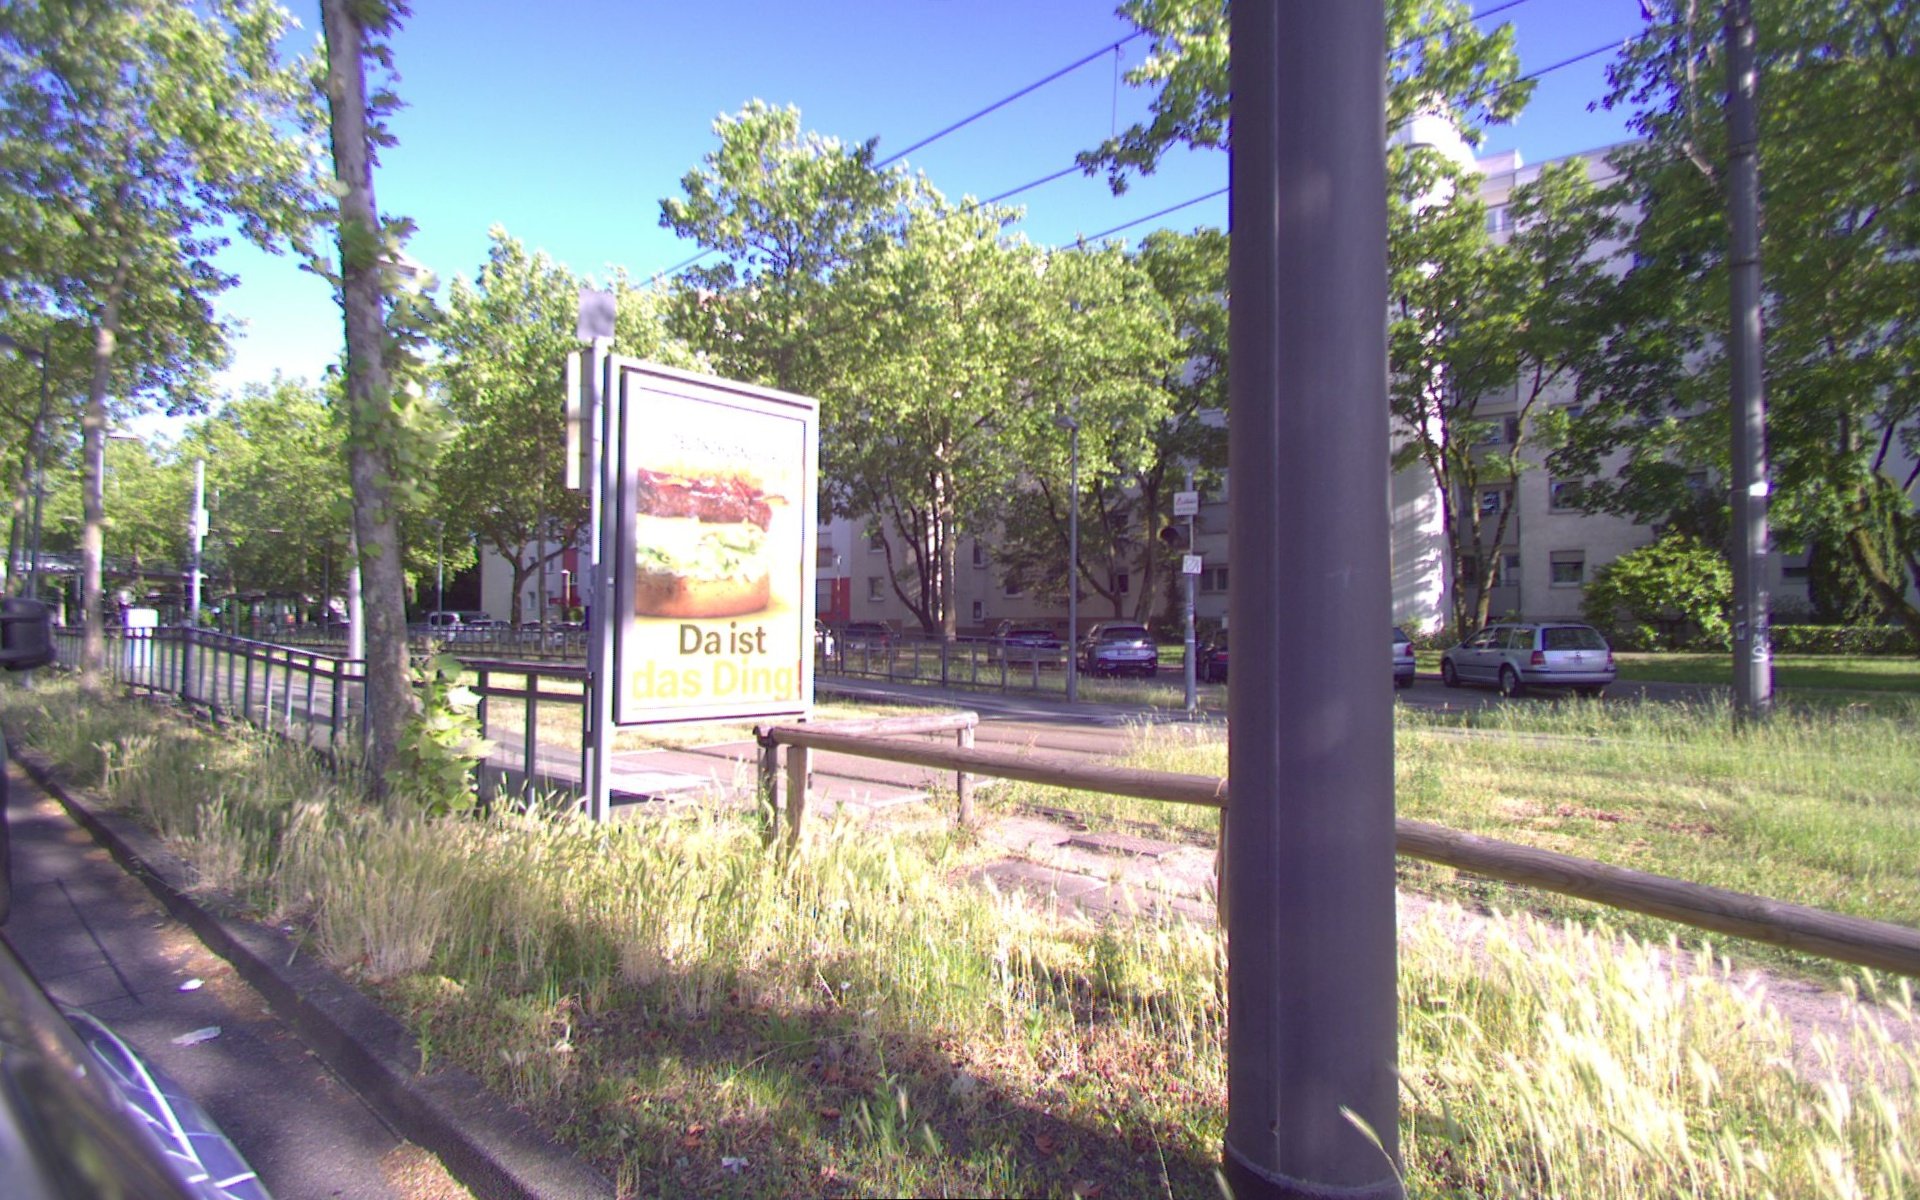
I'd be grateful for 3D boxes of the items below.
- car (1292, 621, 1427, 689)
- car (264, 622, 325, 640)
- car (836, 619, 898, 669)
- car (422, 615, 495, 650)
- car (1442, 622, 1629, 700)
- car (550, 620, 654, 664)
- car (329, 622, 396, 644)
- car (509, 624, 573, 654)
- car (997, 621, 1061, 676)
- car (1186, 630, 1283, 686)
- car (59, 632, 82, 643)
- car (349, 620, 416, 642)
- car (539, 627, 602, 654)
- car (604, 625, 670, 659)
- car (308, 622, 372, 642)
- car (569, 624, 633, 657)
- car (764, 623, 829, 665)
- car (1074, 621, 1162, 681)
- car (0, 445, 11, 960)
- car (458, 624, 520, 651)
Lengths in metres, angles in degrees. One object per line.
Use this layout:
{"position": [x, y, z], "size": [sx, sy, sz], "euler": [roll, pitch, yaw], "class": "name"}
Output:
{"position": [9.159, 1.216, 23.521], "size": [1.679, 1.444, 3.681], "euler": [0, -1, 1], "class": "car"}
{"position": [-52.140, 2.397, 79.358], "size": [1.898, 1.386, 4.365], "euler": [0, -1, 1], "class": "car"}
{"position": [-3.101, 1.455, 34.462], "size": [1.664, 1.579, 3.679], "euler": [0, -1, 2], "class": "car"}
{"position": [-28.321, 1.821, 57.321], "size": [1.898, 1.898, 4.365], "euler": [0, -1, 1], "class": "car"}
{"position": [11.554, 1.174, 20.622], "size": [1.707, 1.444, 3.681], "euler": [0, -1, 1], "class": "car"}
{"position": [-12.548, 1.437, 35.393], "size": [3.755, 1.431, 1.802], "euler": [-1, -2, 40], "class": "car"}
{"position": [-40.277, 2.198, 68.385], "size": [1.898, 1.386, 4.365], "euler": [0, -1, 1], "class": "car"}
{"position": [-21.117, 1.954, 51.128], "size": [1.627, 1.460, 3.680], "euler": [0, -1, 1], "class": "car"}
{"position": [1.940, 1.364, 29.440], "size": [1.664, 1.482, 3.680], "euler": [0, -1, 1], "class": "car"}
{"position": [6.735, 1.398, 25.201], "size": [1.602, 1.256, 3.677], "euler": [0, -1, 4], "class": "car"}
{"position": [-109.665, 4.636, 124.762], "size": [3.294, 1.370, 1.651], "euler": [-1, -2, 41], "class": "car"}
{"position": [-37.904, 2.030, 66.538], "size": [1.898, 1.386, 4.365], "euler": [0, -1, 1], "class": "car"}
{"position": [-19.040, 1.976, 49.660], "size": [1.627, 1.251, 3.680], "euler": [0, -1, 1], "class": "car"}
{"position": [-14.077, 1.815, 44.274], "size": [1.627, 1.403, 3.679], "euler": [0, -1, 2], "class": "car"}
{"position": [-44.639, 2.275, 72.978], "size": [1.898, 1.386, 4.365], "euler": [0, -1, 1], "class": "car"}
{"position": [-16.676, 1.838, 47.130], "size": [1.627, 1.460, 3.680], "euler": [0, -1, 1], "class": "car"}
{"position": [-5.903, 1.567, 36.912], "size": [1.664, 1.444, 3.679], "euler": [0, -1, 2], "class": "car"}
{"position": [4.213, 1.343, 27.487], "size": [1.894, 1.507, 3.680], "euler": [0, -1, 2], "class": "car"}
{"position": [-6.527, 0.453, 5.133], "size": [5.111, 2.131, 2.014], "euler": [-1, -1, 41], "class": "car"}
{"position": [-25.792, 2.030, 55.513], "size": [1.627, 1.407, 3.680], "euler": [0, -1, 1], "class": "car"}
